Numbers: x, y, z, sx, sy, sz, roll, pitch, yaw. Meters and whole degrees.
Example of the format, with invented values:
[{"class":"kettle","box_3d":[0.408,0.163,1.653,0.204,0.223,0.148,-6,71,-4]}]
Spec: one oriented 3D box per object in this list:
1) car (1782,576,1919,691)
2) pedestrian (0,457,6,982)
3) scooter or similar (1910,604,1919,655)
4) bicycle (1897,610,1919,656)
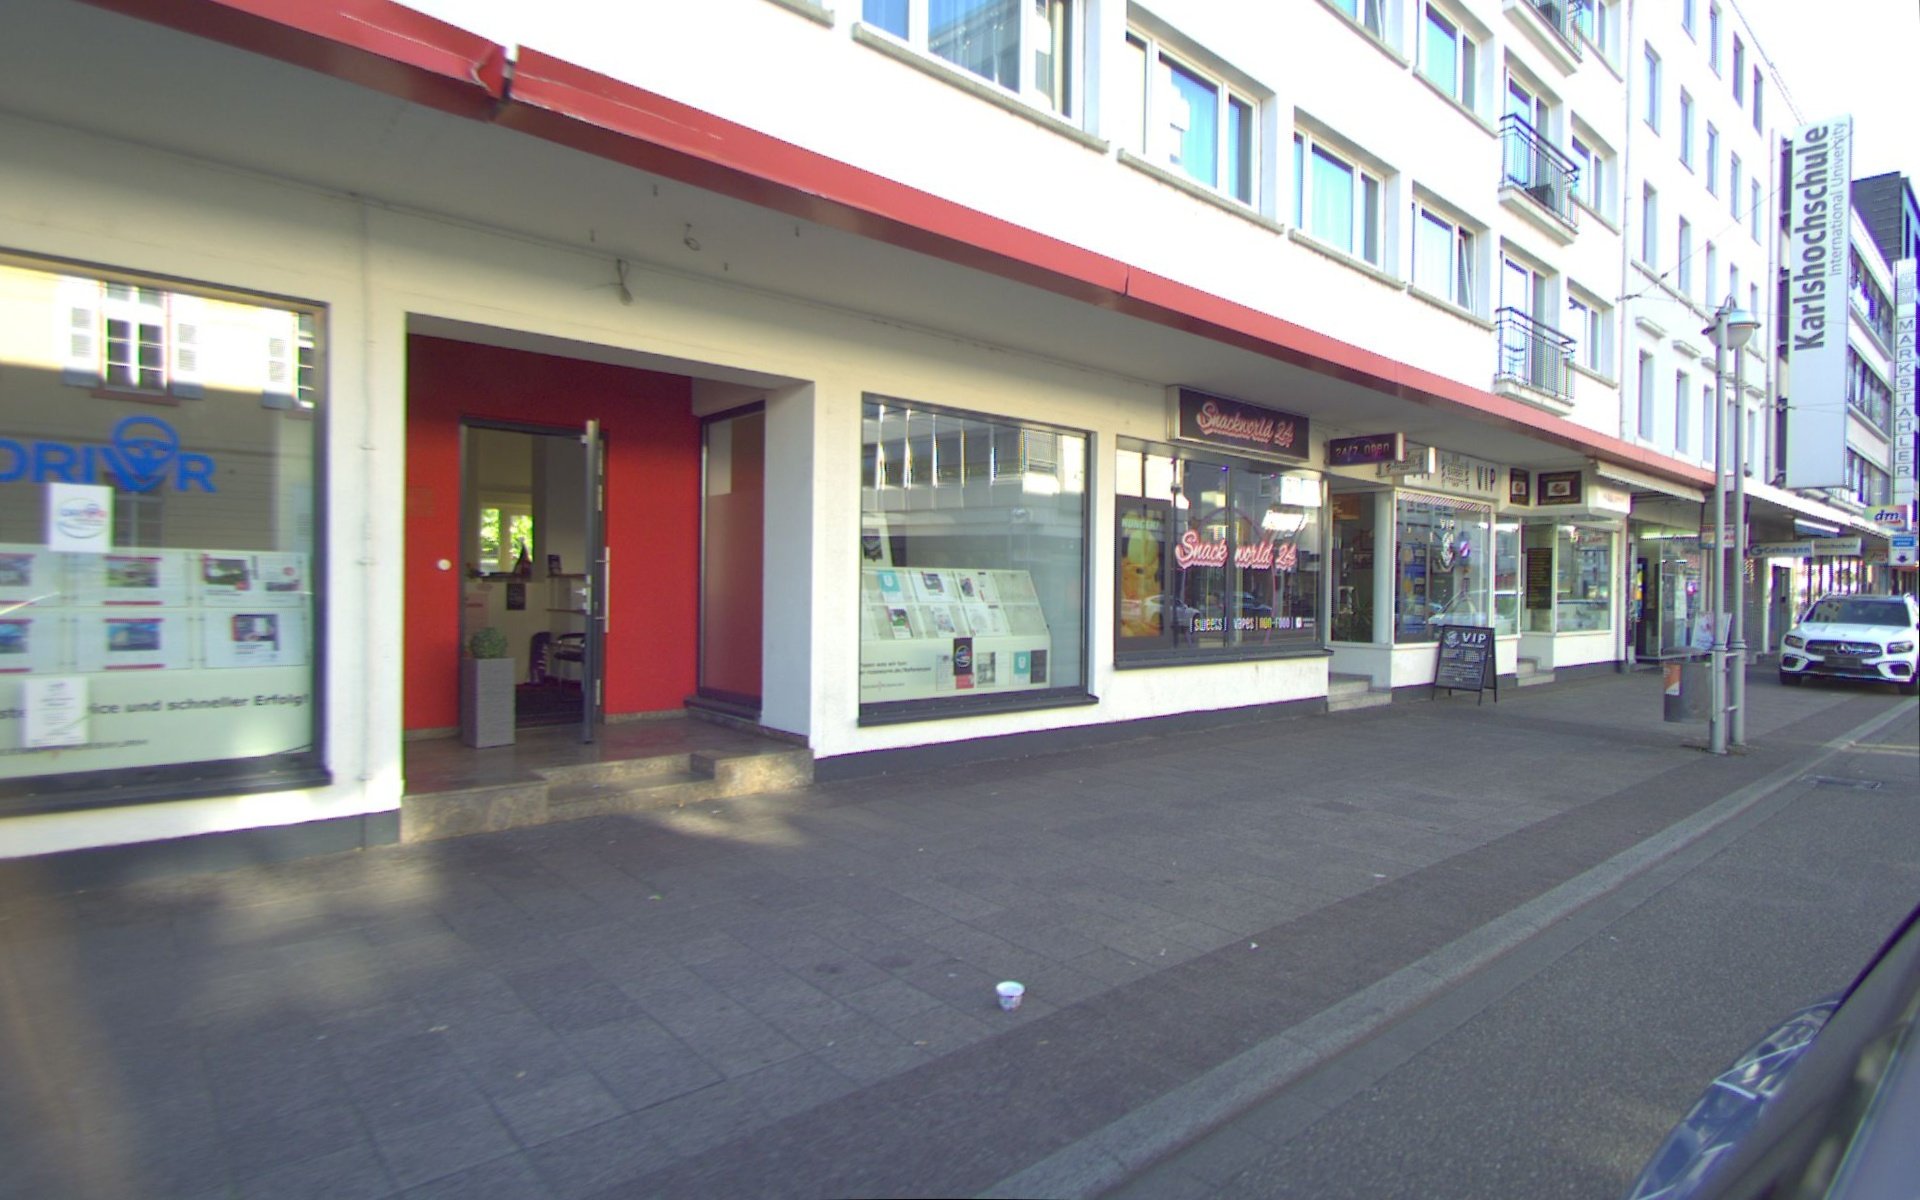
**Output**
[{"class":"car","box_3d":[16.464,0.498,18.140,5.103,1.745,1.853,-1,3,-42]},{"class":"pedestrian","box_3d":[-3.864,0.408,3.362,0.802,1.796,0.920,1,1,39]},{"class":"scooter or similar","box_3d":[23.925,0.752,24.702,0.314,1.247,0.994,0,2,-42]},{"class":"bicycle","box_3d":[23.579,0.833,24.580,0.314,1.093,1.133,0,3,-42]}]
